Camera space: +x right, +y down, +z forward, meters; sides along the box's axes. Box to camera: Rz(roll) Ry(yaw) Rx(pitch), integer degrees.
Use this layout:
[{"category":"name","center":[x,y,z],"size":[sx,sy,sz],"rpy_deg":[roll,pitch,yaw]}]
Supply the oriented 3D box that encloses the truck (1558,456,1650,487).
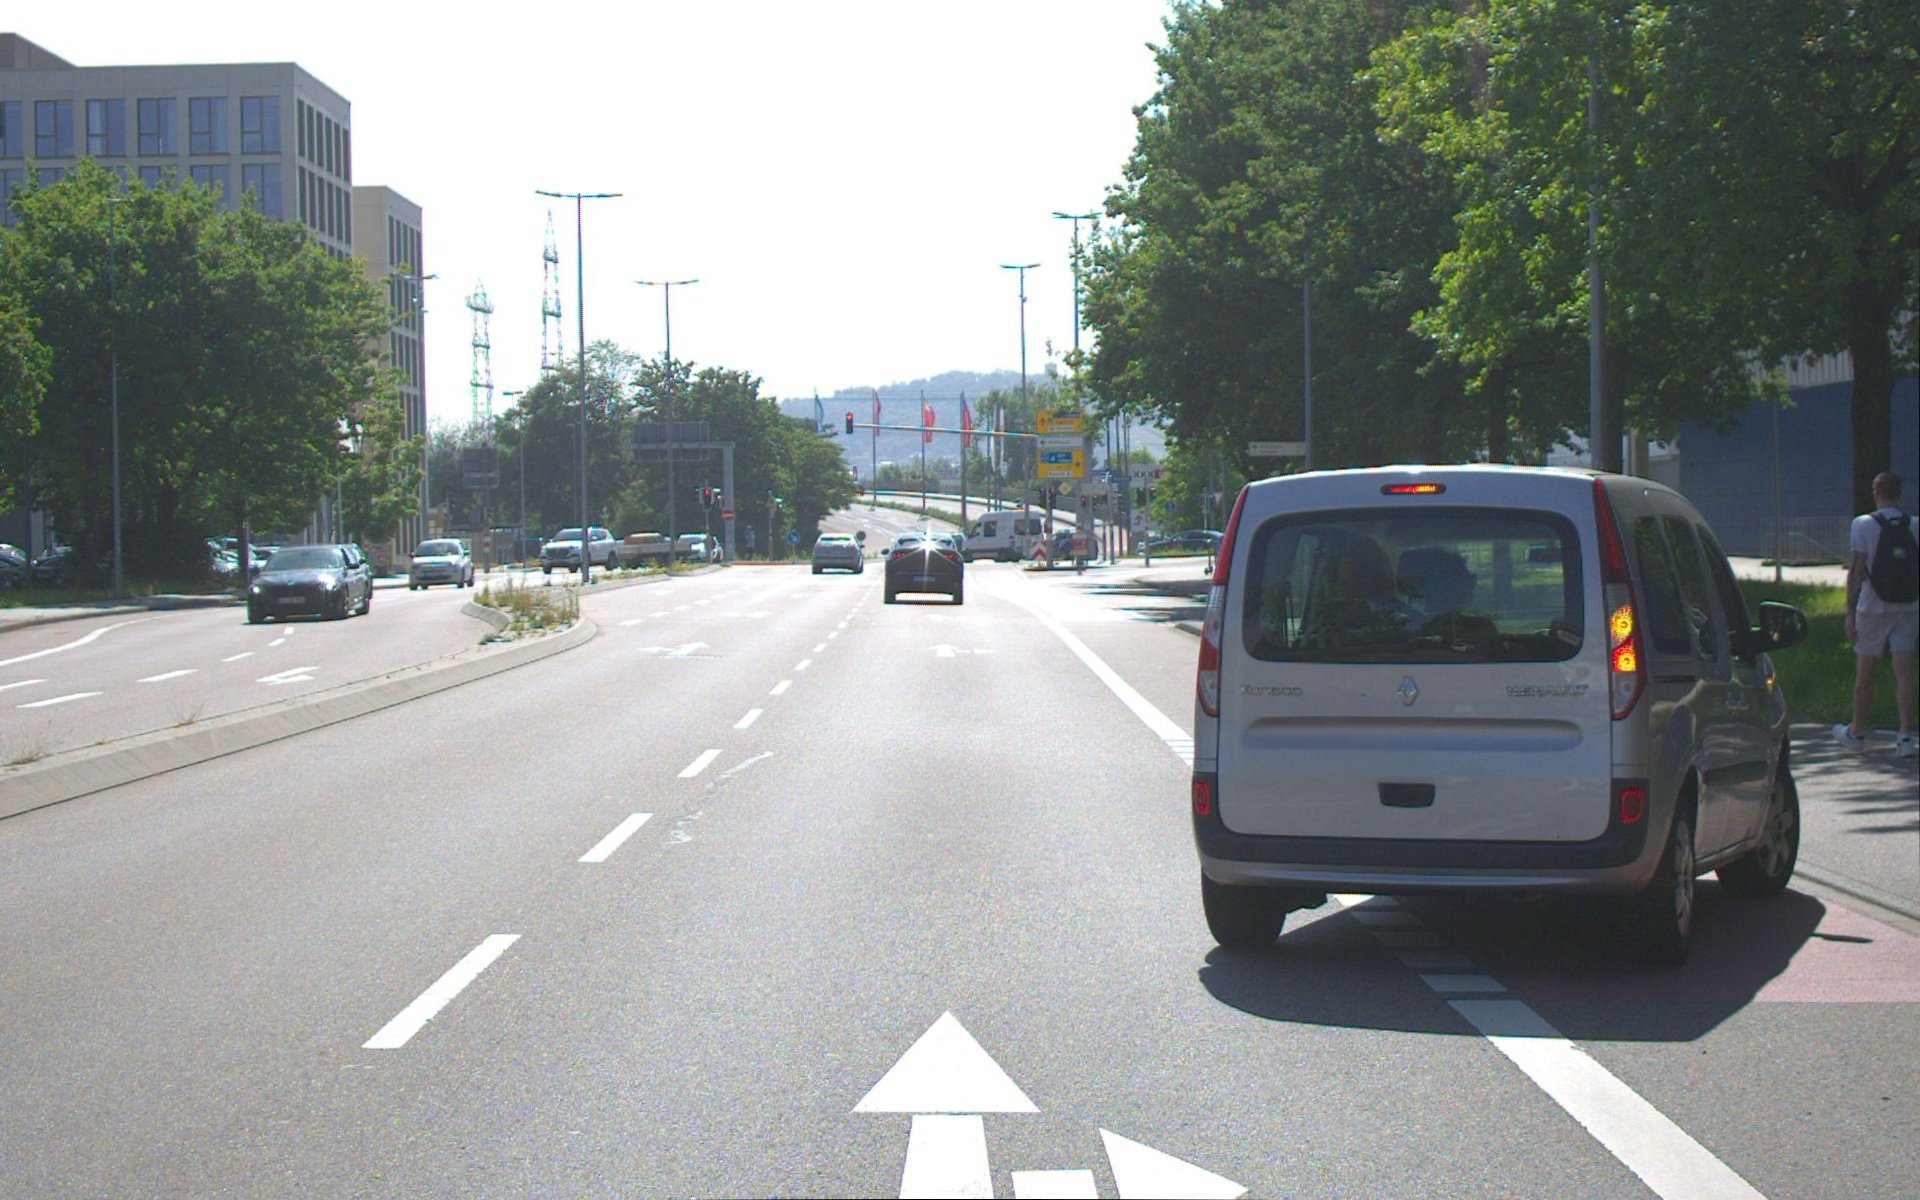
[{"category":"truck","center":[43.992,-8.789,234.812],"size":[5.910,2.006,2.000],"rpy_deg":[1,2,3]}]

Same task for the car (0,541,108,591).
[{"category":"car","center":[-26.794,-0.964,98.998],"size":[3.987,1.371,1.924],"rpy_deg":[-1,1,1]}]

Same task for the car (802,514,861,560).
[{"category":"car","center":[-4.834,-2.381,130.148],"size":[1.993,1.678,4.000],"rpy_deg":[-1,1,1]}]

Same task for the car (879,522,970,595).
[{"category":"car","center":[-0.809,-1.000,81.473],"size":[1.807,1.634,4.458],"rpy_deg":[-1,1,3]}]

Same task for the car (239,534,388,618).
[{"category":"car","center":[-12.492,-0.495,66.752],"size":[1.841,1.458,5.000],"rpy_deg":[-3,1,0]}]

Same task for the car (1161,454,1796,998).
[{"category":"car","center":[2.238,0.383,13.782],"size":[1.907,1.822,4.177],"rpy_deg":[-1,1,17]}]

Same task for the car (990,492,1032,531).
[{"category":"car","center":[2.412,-4.238,164.859],"size":[1.757,1.752,3.603],"rpy_deg":[1,2,-3]}]

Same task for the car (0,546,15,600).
[{"category":"car","center":[-26.638,-0.656,88.663],"size":[3.987,1.371,1.924],"rpy_deg":[-1,1,1]}]

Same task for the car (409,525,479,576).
[{"category":"car","center":[-15.623,-1.521,104.268],"size":[1.653,1.459,3.551],"rpy_deg":[-2,1,-2]}]

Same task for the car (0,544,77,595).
[{"category":"car","center":[-26.871,-0.845,95.784],"size":[3.987,1.371,1.924],"rpy_deg":[-1,1,1]}]

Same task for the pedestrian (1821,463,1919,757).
[{"category":"pedestrian","center":[5.856,0.056,21.917],"size":[0.535,1.835,0.728],"rpy_deg":[-1,1,1]}]

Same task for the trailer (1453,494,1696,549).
[{"category":"trailer","center":[30.995,-3.975,173.711],"size":[11.874,2.460,2.000],"rpy_deg":[2,2,6]}]

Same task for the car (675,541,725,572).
[{"category":"car","center":[-12.993,-2.186,171.978],"size":[1.816,1.459,4.000],"rpy_deg":[-1,1,5]}]

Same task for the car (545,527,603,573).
[{"category":"car","center":[-15.959,-2.074,142.262],"size":[1.993,1.826,4.938],"rpy_deg":[-1,1,-2]}]

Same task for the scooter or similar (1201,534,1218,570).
[{"category":"scooter or similar","center":[8.684,-1.663,119.520],"size":[0.351,1.229,1.310],"rpy_deg":[-1,1,14]}]
